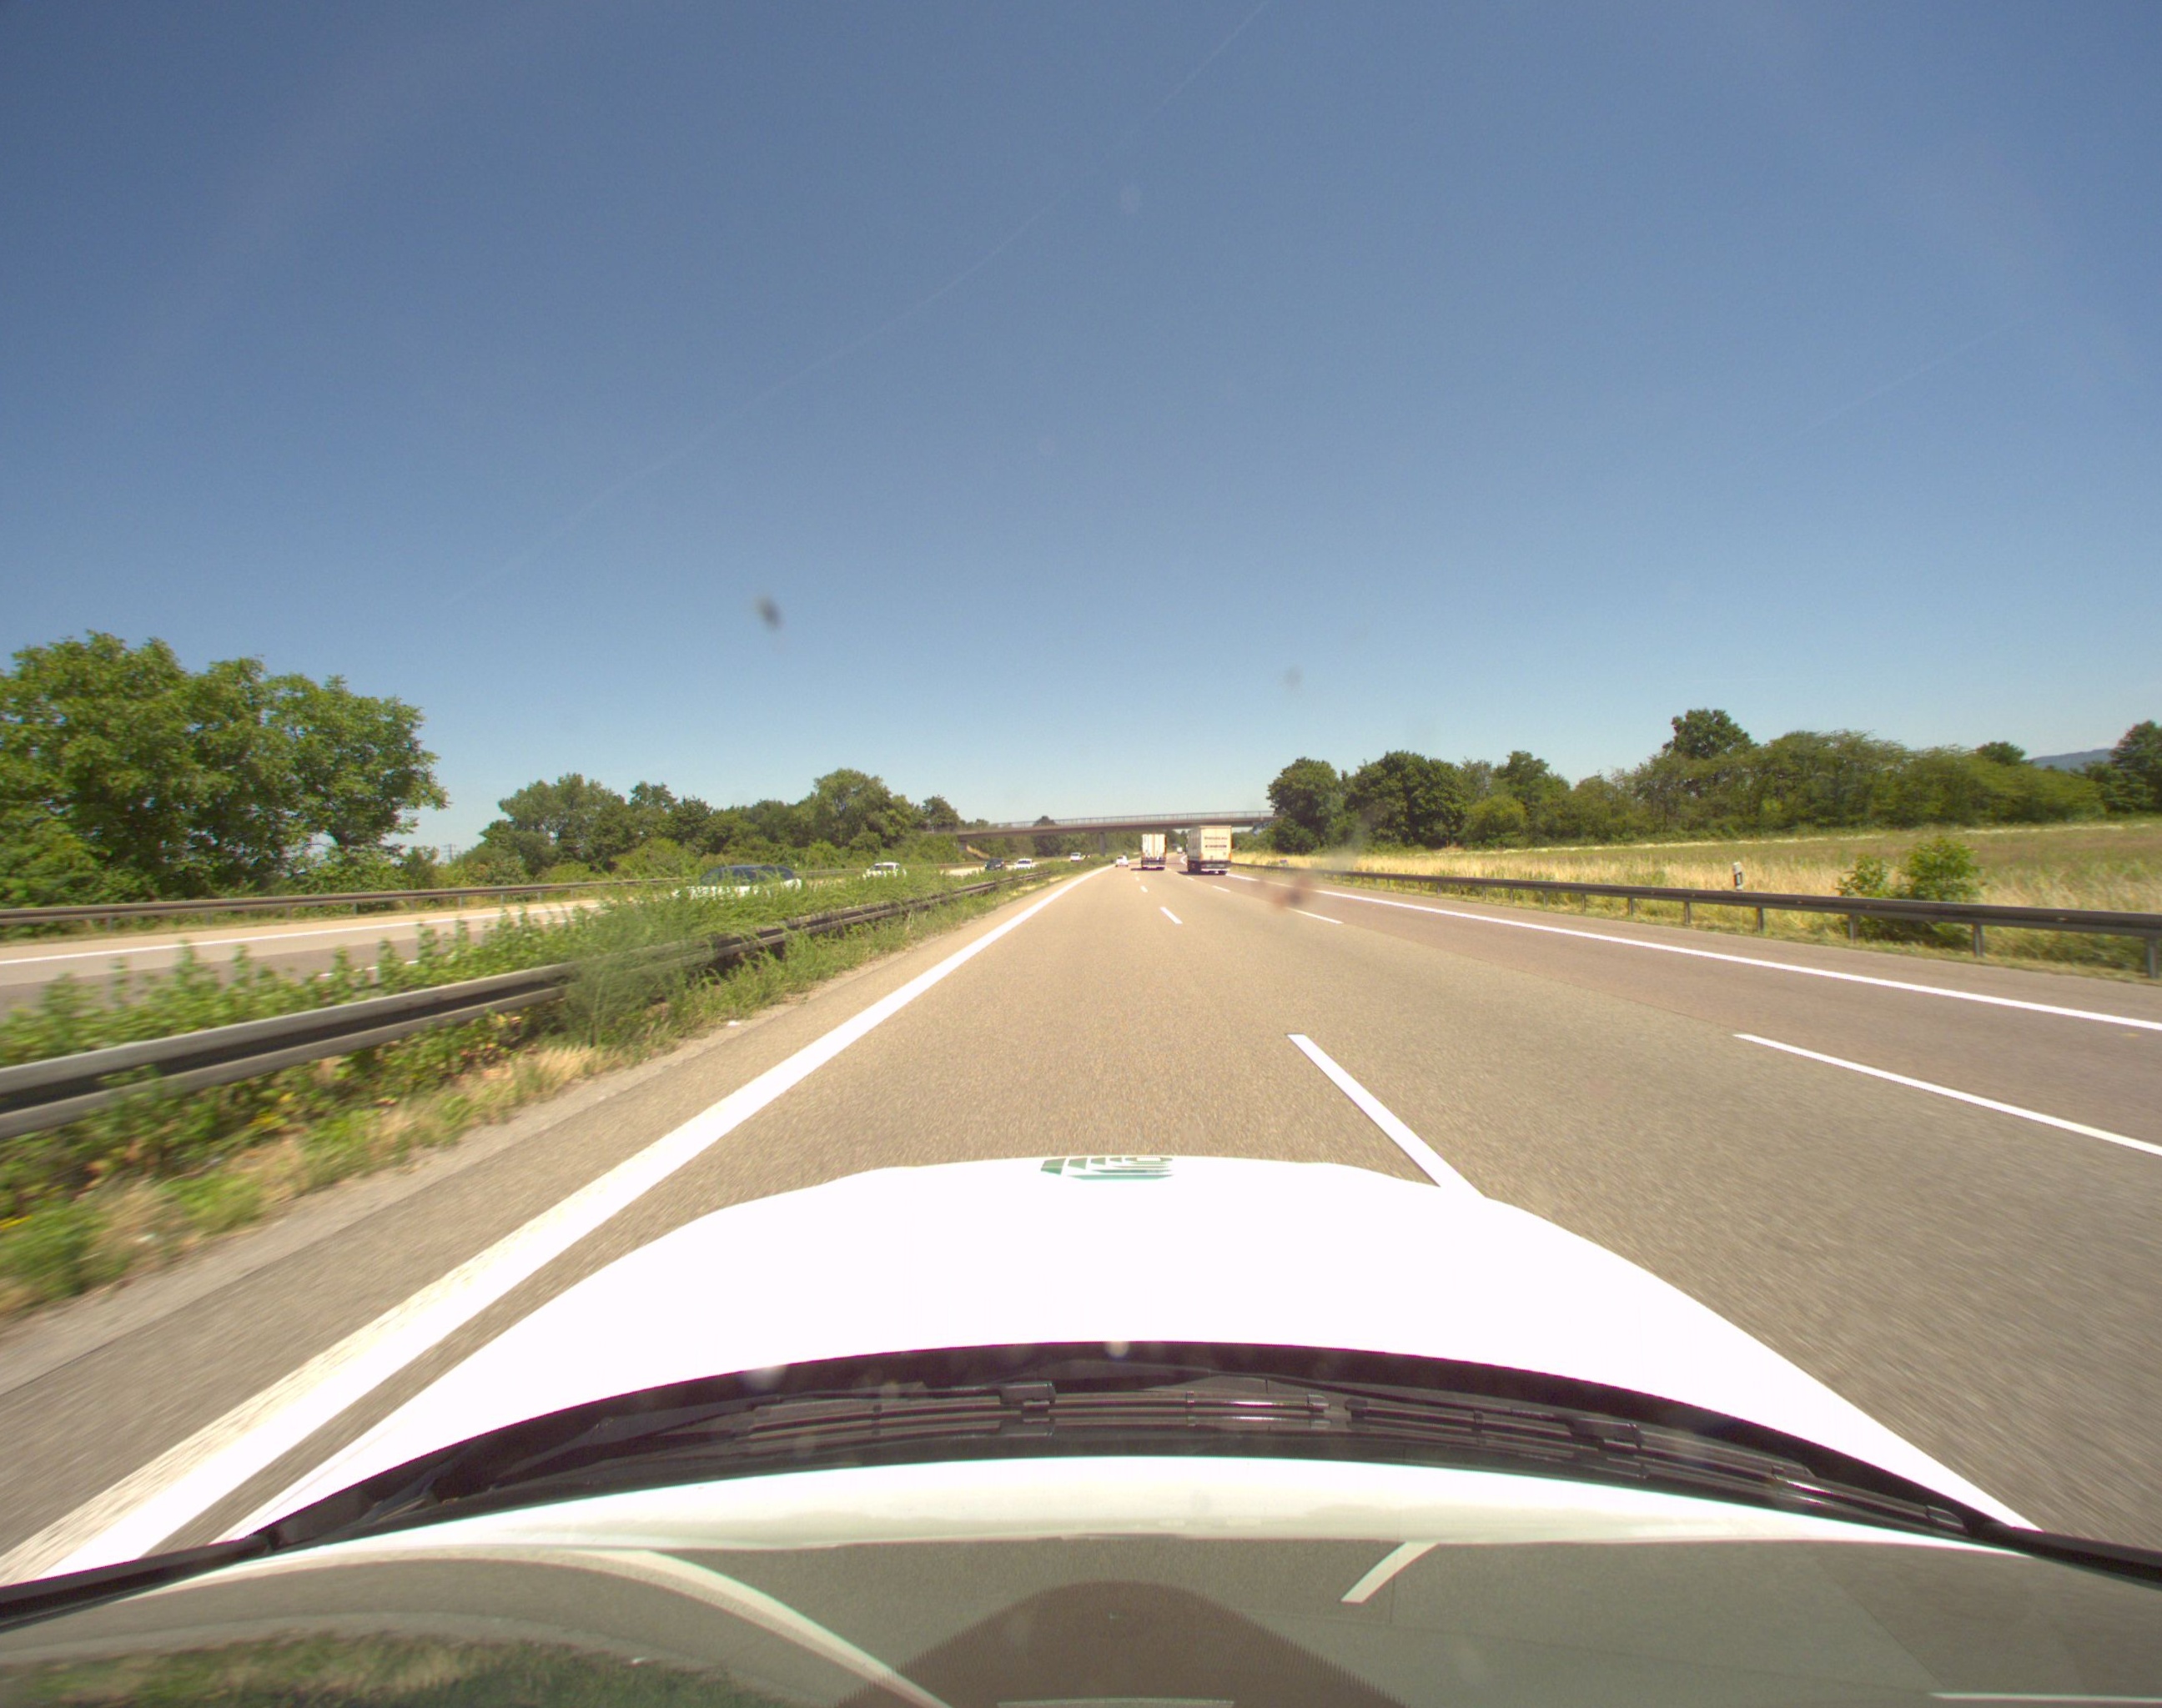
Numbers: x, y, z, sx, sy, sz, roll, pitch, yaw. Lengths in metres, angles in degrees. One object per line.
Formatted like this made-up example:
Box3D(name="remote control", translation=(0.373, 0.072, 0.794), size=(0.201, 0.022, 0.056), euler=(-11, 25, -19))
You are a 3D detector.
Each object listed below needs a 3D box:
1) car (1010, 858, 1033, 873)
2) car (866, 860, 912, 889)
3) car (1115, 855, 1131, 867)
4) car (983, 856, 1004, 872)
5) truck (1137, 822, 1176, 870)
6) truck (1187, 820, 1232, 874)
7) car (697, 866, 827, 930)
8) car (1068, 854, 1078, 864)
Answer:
Box3D(name="car", translation=(-5.931, 1.129, 81.129), size=(1.677, 1.490, 4.732), euler=(-1, -1, 3))
Box3D(name="car", translation=(-11.541, 1.207, 49.311), size=(1.696, 1.560, 4.378), euler=(-1, 0, 0))
Box3D(name="car", translation=(5.801, 0.975, 112.320), size=(1.818, 1.547, 4.327), euler=(0, 0, 7))
Box3D(name="car", translation=(-9.398, 1.073, 87.835), size=(1.638, 1.561, 4.069), euler=(-1, -1, 3))
Box3D(name="truck", translation=(8.478, -0.873, 93.566), size=(3.651, 5.018, 16.029), euler=(-1, 0, 3))
Box3D(name="truck", translation=(11.431, -0.669, 73.817), size=(3.165, 4.304, 16.044), euler=(-1, 0, 6))
Box3D(name="car", translation=(-8.689, 1.143, 22.624), size=(1.804, 1.561, 4.404), euler=(-1, -1, 0))
Box3D(name="car", translation=(-1.670, 1.098, 174.282), size=(1.820, 2.013, 5.336), euler=(0, 0, 4))
